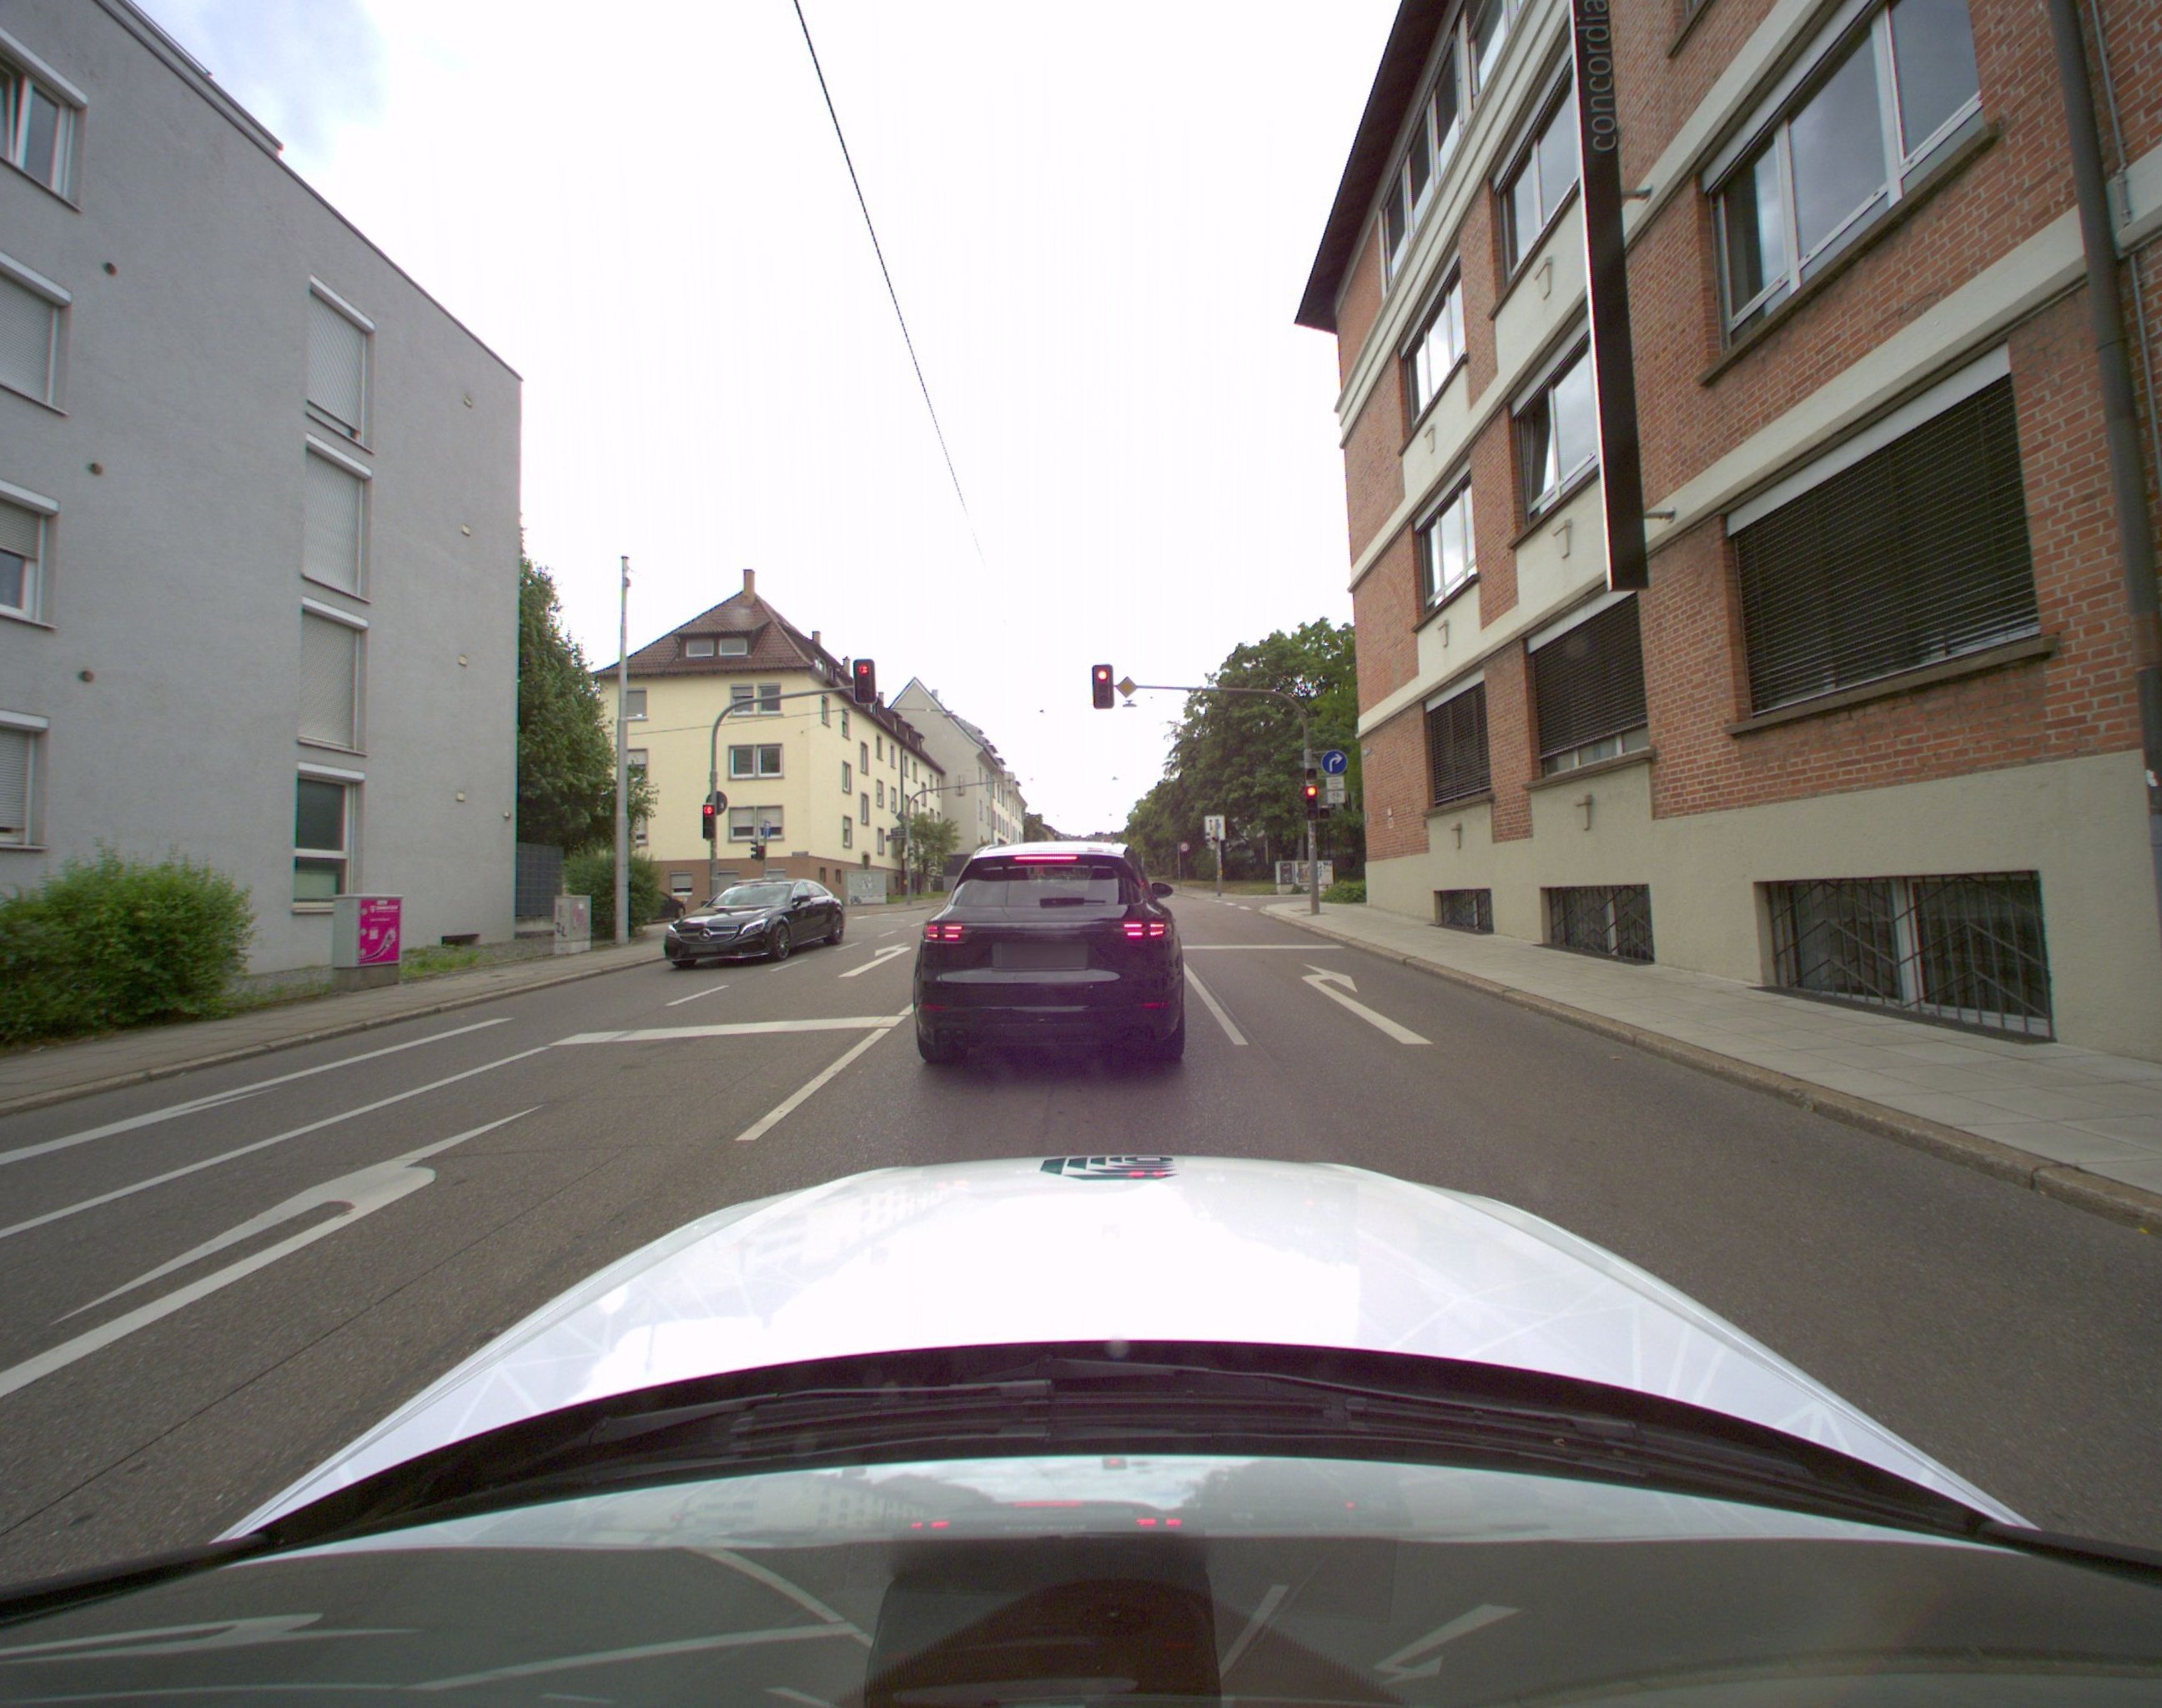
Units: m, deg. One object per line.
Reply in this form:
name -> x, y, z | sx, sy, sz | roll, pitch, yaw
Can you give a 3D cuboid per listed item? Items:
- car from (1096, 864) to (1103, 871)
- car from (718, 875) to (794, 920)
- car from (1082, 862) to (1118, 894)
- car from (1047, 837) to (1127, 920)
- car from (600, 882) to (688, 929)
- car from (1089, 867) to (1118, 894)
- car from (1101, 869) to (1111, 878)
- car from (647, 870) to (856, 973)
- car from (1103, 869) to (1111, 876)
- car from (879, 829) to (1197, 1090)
car -> 4.664, 3.339, 203.065 | 1.820, 1.605, 4.137 | 0, 0, 2
car -> -13.529, 1.775, 34.125 | 1.686, 1.555, 3.763 | -4, 0, -2
car -> 1.054, 1.275, 43.942 | 1.820, 1.605, 4.137 | 0, 0, 2
car -> 0.228, 0.599, 22.033 | 1.957, 2.042, 4.137 | 0, 0, 2
car -> -18.496, 2.139, 34.651 | 1.686, 1.608, 3.763 | -4, 0, -2
car -> 1.468, 1.656, 52.649 | 1.820, 1.605, 3.860 | 0, 0, 2
car -> 5.026, 3.932, 163.130 | 1.820, 1.605, 4.137 | 0, 0, 2
car -> -5.944, 1.135, 15.413 | 1.778, 1.418, 4.673 | -4, 0, 3
car -> 5.872, 4.169, 182.542 | 1.820, 1.605, 4.137 | 0, 0, 2
car -> -0.200, 0.679, 7.361 | 2.040, 1.666, 4.269 | 0, 0, 2
